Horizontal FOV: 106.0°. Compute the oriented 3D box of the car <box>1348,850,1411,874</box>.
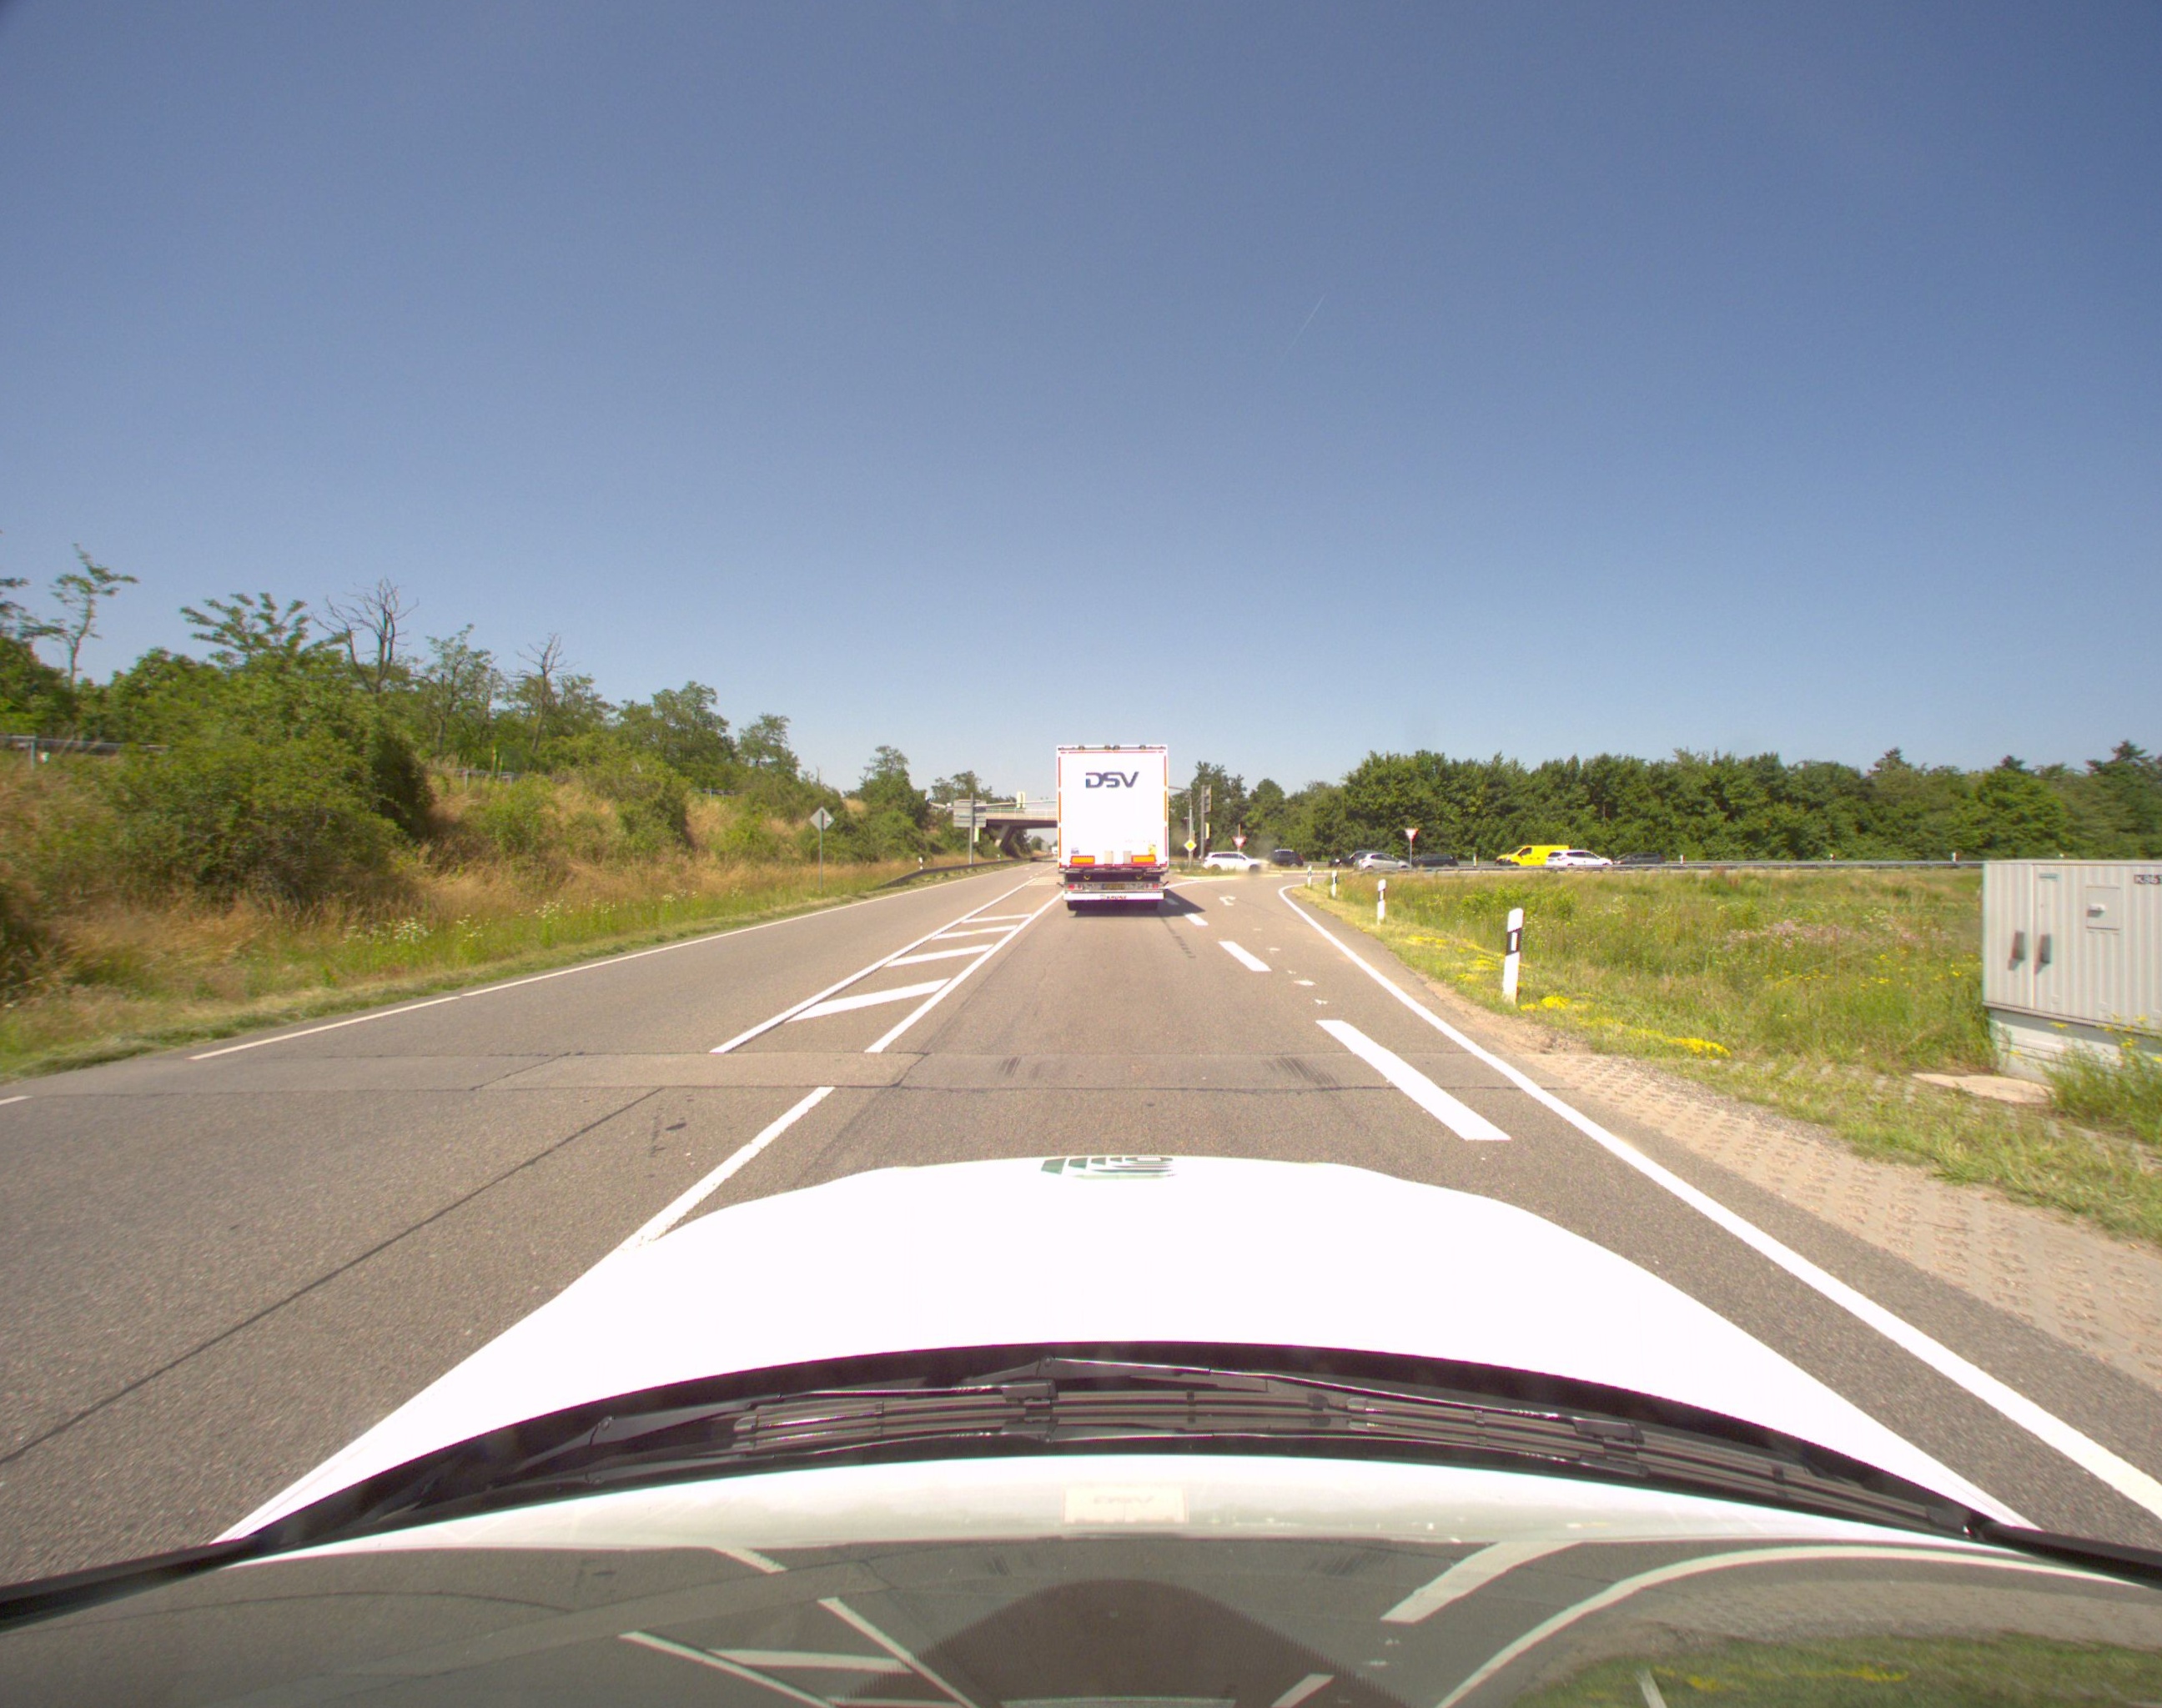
[{"bbox_3d":[20.342,0.537,55.561,3.671,1.567,1.738,0,-1,-1],"label":"car"}]

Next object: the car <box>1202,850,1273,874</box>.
[{"bbox_3d":[10.741,0.549,55.901,4.428,1.567,1.749,-2,0,24],"label":"car"}]

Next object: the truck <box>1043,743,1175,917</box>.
[{"bbox_3d":[0.811,-0.522,23.449,2.976,3.942,9.880,0,0,2],"label":"truck"}]

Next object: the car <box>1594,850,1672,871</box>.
[{"bbox_3d":[42.405,0.505,62.590,4.661,1.514,1.855,0,-1,4],"label":"car"}]

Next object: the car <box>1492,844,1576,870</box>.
[{"bbox_3d":[34.864,0.238,62.796,5.299,2.014,2.002,0,-1,3],"label":"car"}]

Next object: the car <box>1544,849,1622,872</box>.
[{"bbox_3d":[34.678,0.456,56.268,4.461,1.567,1.736,0,-1,-5],"label":"car"}]

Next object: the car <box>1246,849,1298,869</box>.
[{"bbox_3d":[15.437,0.418,65.946,3.963,1.640,1.845,0,-1,8],"label":"car"}]

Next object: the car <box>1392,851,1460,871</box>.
[{"bbox_3d":[27.441,0.557,64.865,4.654,1.514,1.858,0,-1,9],"label":"car"}]

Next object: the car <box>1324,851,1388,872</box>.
[{"bbox_3d":[21.464,0.552,63.686,4.465,1.598,1.770,0,-1,5],"label":"car"}]
